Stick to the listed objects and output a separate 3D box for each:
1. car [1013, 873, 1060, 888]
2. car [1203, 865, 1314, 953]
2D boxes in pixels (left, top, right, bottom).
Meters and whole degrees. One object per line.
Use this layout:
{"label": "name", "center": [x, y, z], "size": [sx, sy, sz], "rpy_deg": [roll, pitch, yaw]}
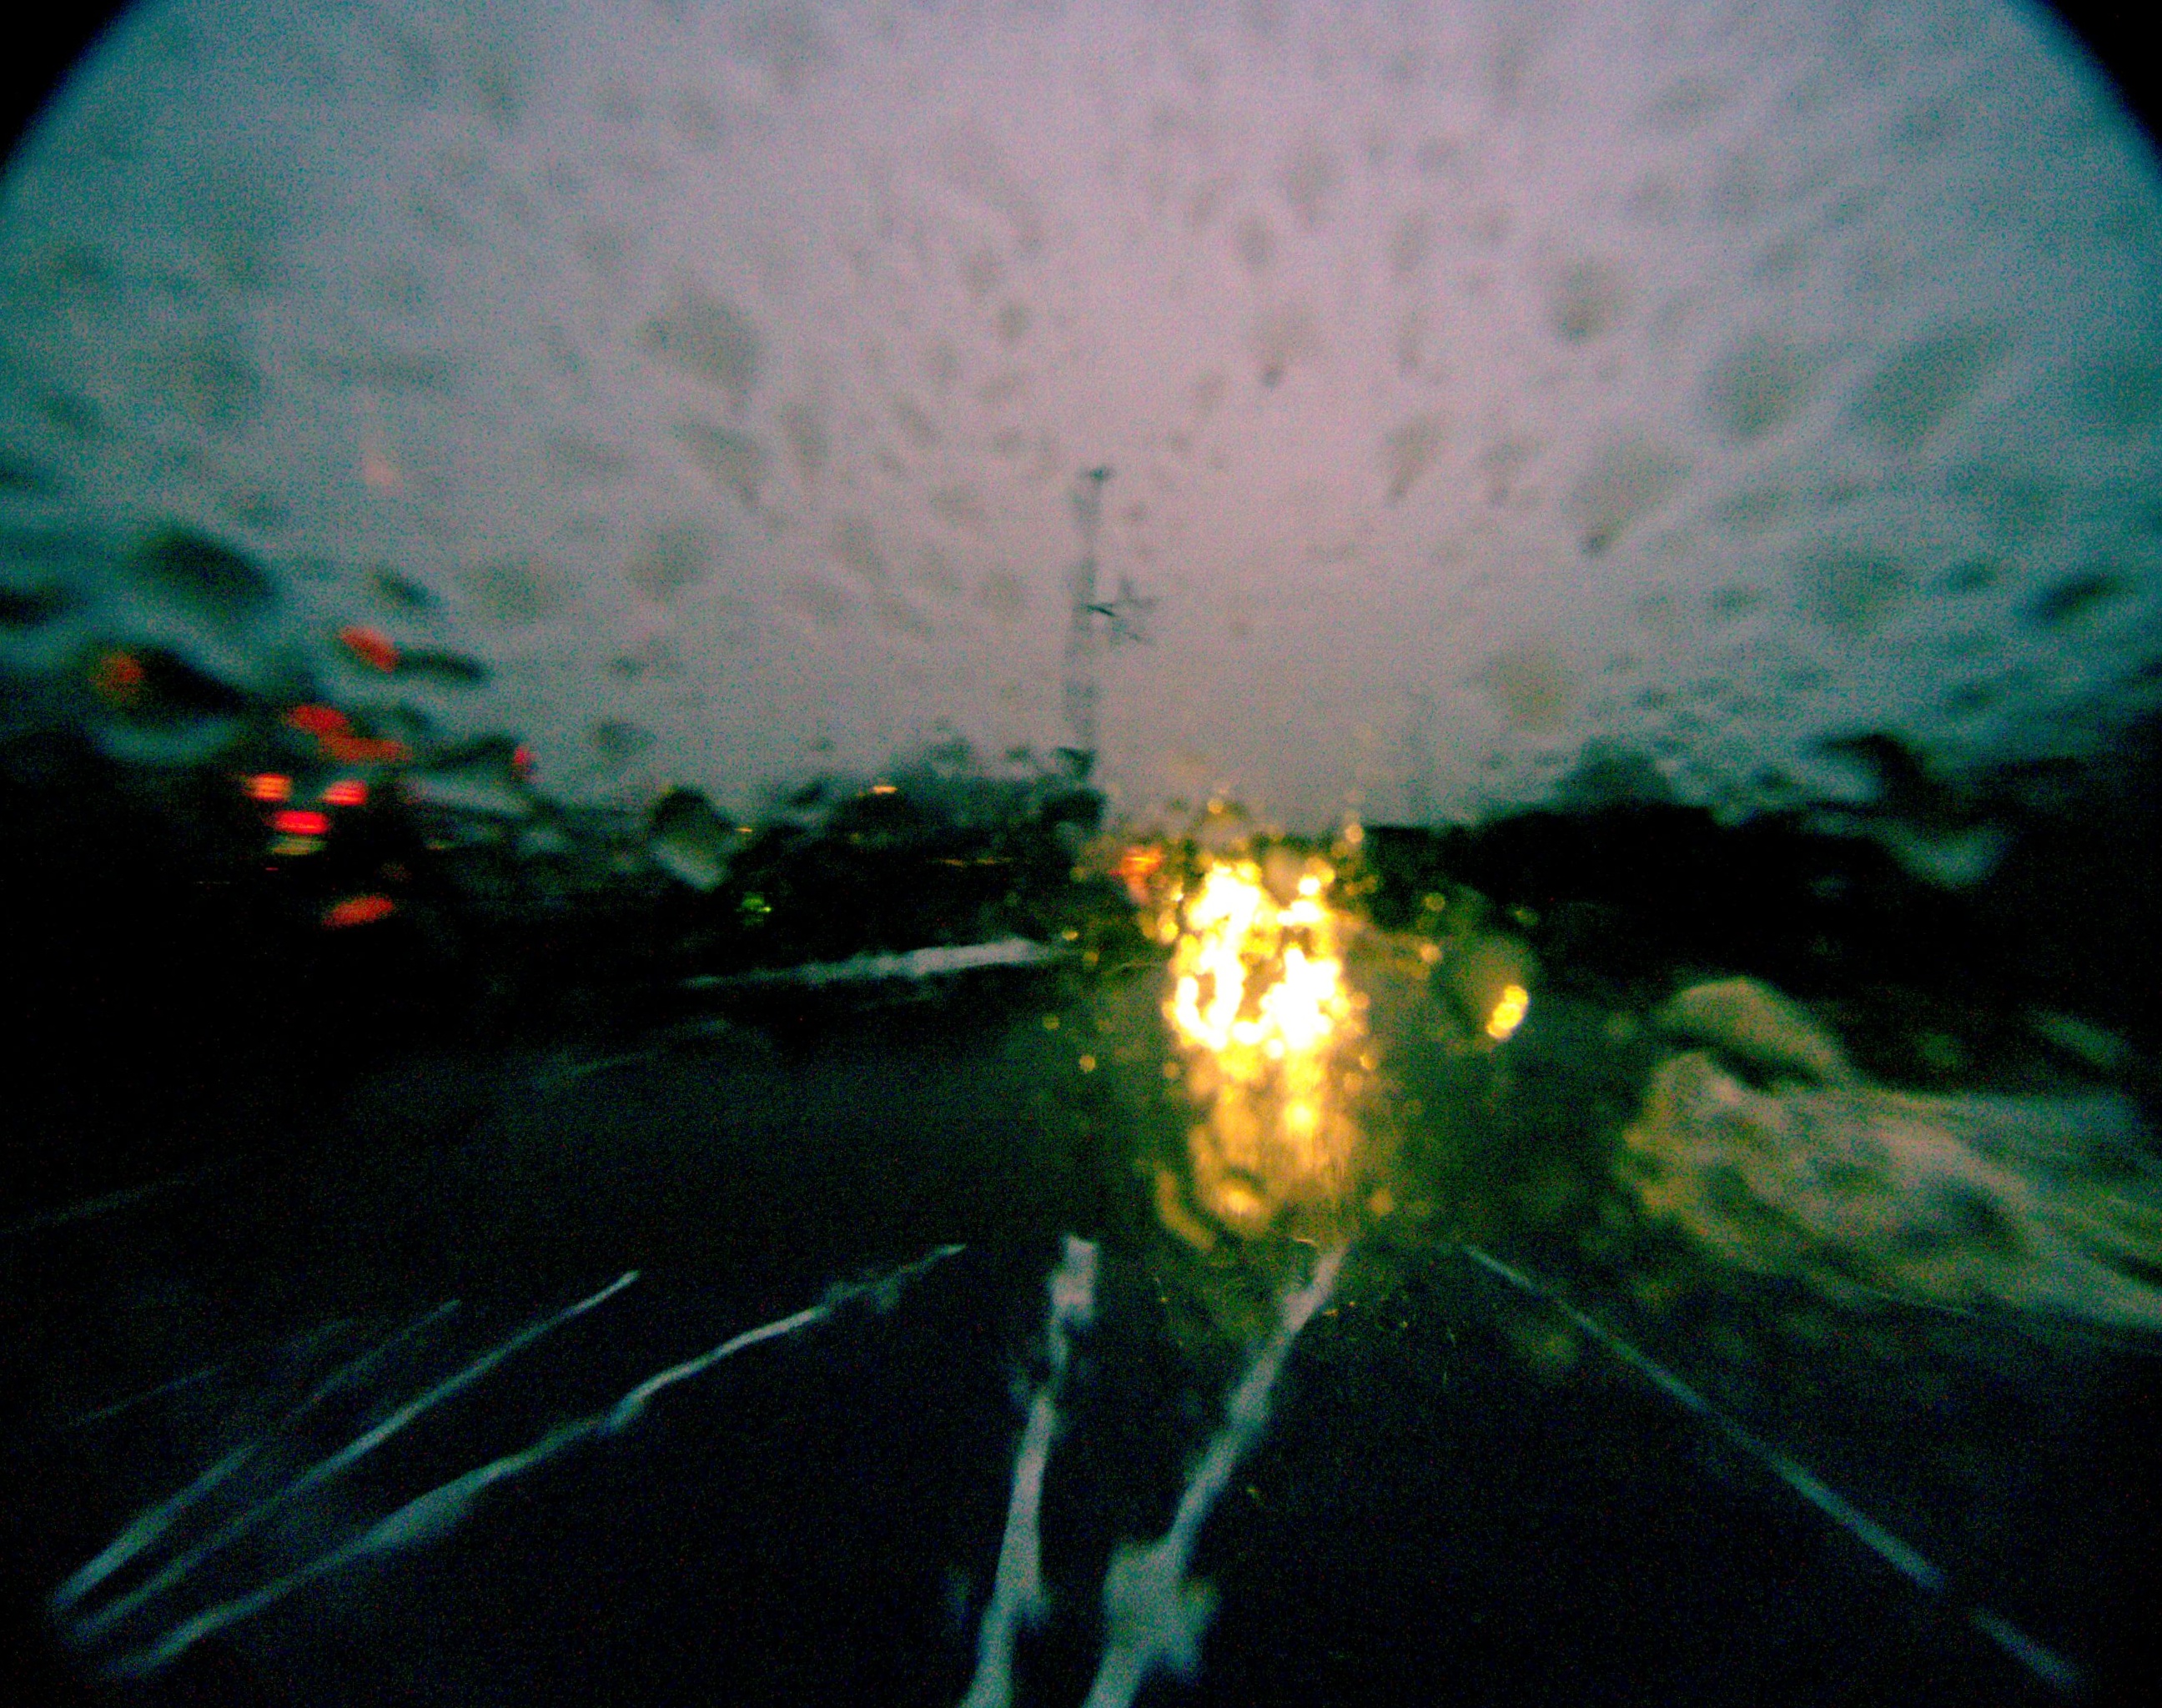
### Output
{"label": "car", "center": [-4.757, 2.852, 81.735], "size": [4.708, 1.388, 1.901], "rpy_deg": [1, 1, -17]}
{"label": "car", "center": [3.697, 1.073, 16.498], "size": [1.809, 1.453, 4.246], "rpy_deg": [-1, 2, 6]}
